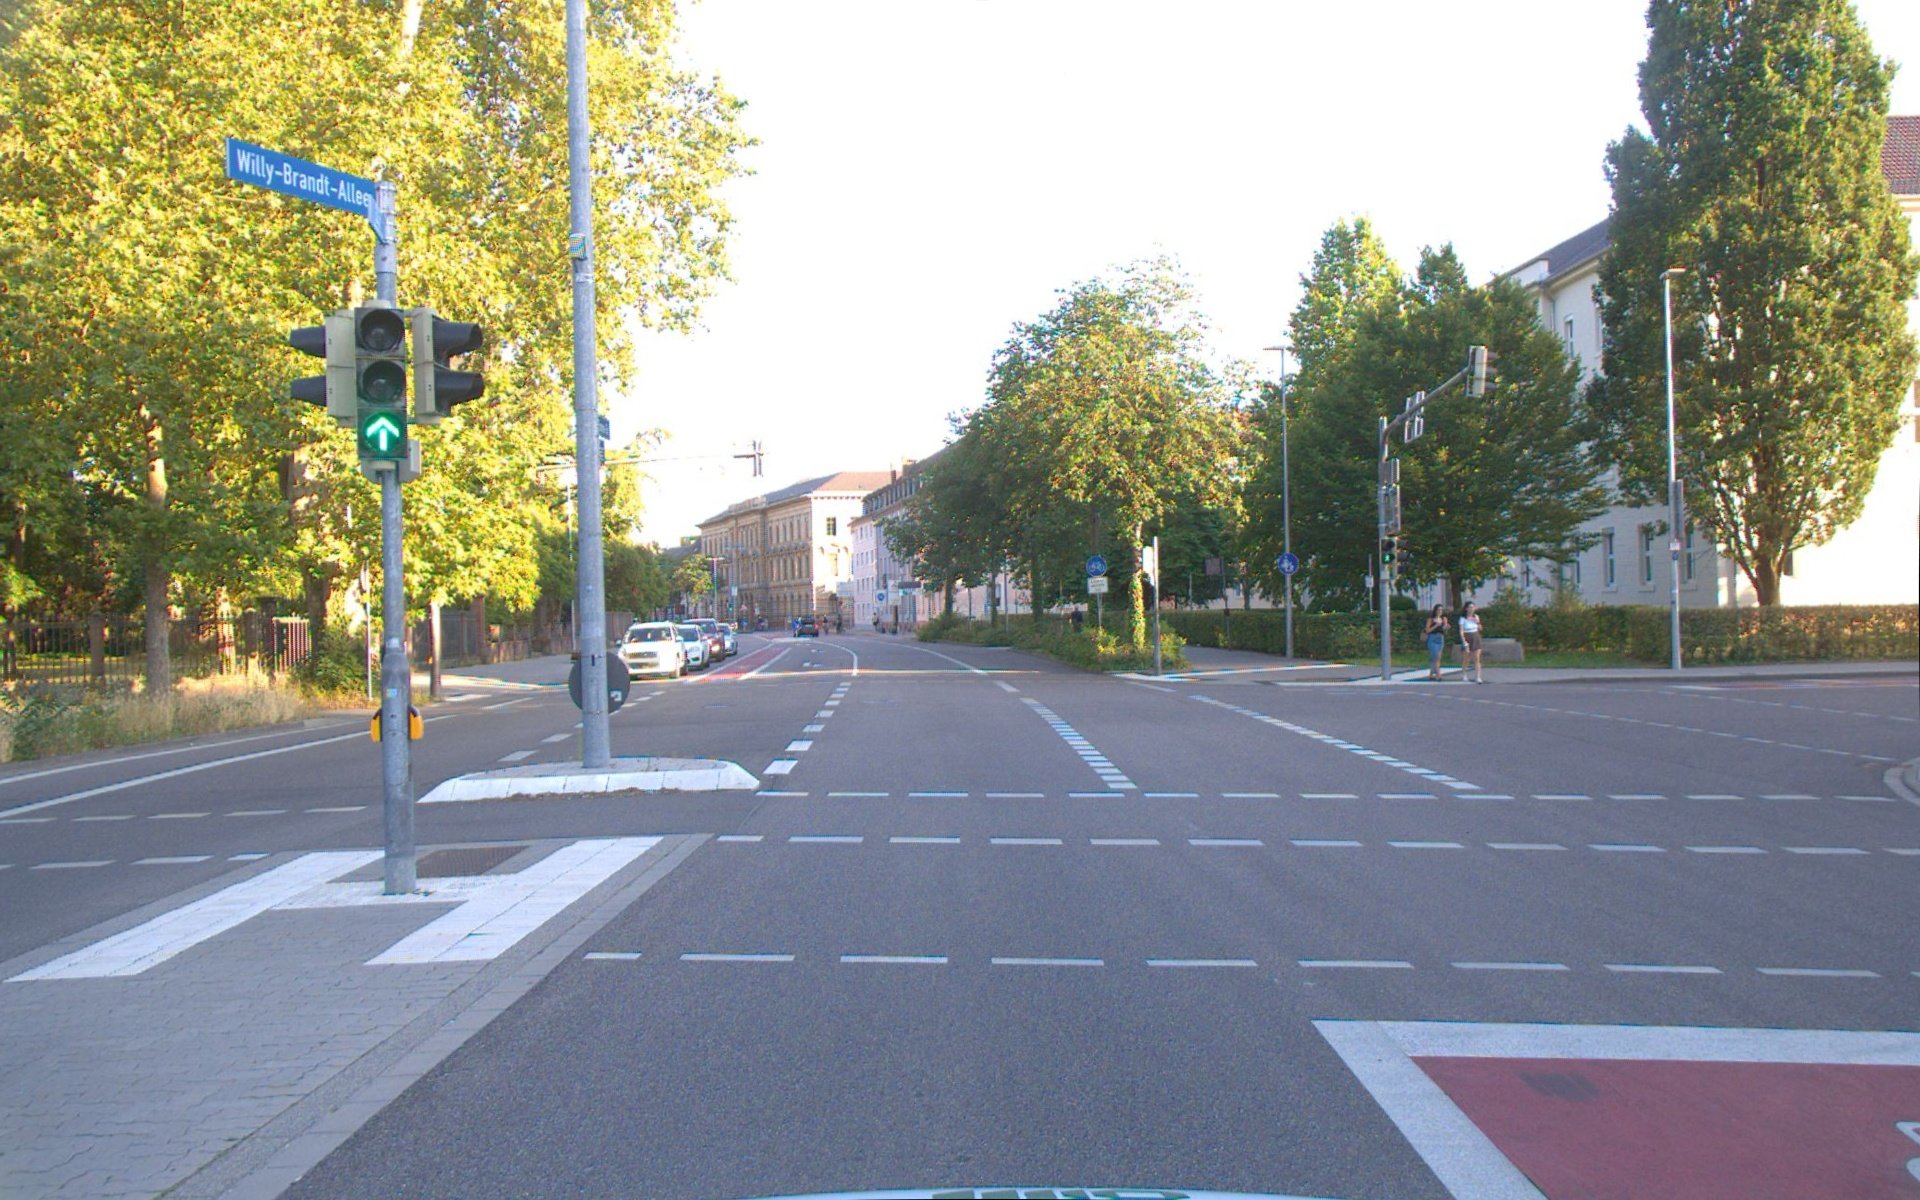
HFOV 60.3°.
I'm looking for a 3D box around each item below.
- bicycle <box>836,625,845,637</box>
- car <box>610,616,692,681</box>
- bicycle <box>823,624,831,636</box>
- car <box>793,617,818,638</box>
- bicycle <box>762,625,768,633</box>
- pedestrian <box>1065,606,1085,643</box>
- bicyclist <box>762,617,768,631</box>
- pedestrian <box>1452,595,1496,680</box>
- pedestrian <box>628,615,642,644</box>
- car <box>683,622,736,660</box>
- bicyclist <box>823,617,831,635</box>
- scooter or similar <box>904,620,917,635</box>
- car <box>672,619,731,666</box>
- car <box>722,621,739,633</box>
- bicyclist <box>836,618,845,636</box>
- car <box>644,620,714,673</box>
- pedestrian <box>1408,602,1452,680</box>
[{"bbox_3d":[-10.230,2.650,141.568,0.639,1.033,2.197,1,-1,-1],"label":"bicycle"},{"bbox_3d":[-9.185,1.407,49.463,1.879,1.725,4.422,-3,0,-5],"label":"car"},{"bbox_3d":[-11.382,2.539,141.450,0.639,1.033,2.194,1,-1,-7],"label":"bicycle"},{"bbox_3d":[-11.993,2.133,128.229,1.832,1.536,3.993,0,-1,-8],"label":"car"},{"bbox_3d":[-23.980,3.570,203.401,0.640,1.033,2.192,1,-1,-10],"label":"bicycle"},{"bbox_3d":[5.605,1.211,80.509,0.756,1.769,0.805,-1,-1,-10],"label":"pedestrian"},{"bbox_3d":[-23.940,2.911,203.233,0.640,1.727,0.955,1,-1,-10],"label":"bicyclist"},{"bbox_3d":[11.019,0.792,35.471,0.667,1.784,0.688,-1,0,-1],"label":"pedestrian"},{"bbox_3d":[-18.488,1.684,94.069,0.667,1.651,0.688,-1,-1,-1],"label":"pedestrian"},{"bbox_3d":[-10.687,1.714,70.867,1.879,1.442,4.765,-3,0,-5],"label":"car"},{"bbox_3d":[-11.369,2.220,141.425,0.639,1.471,0.878,1,-1,-7],"label":"bicyclist"},{"bbox_3d":[-4.337,2.404,144.535,0.619,1.360,2.391,-1,-1,-14],"label":"scooter or similar"},{"bbox_3d":[-10.074,1.614,64.669,1.879,1.653,4.634,-3,0,-5],"label":"car"},{"bbox_3d":[-29.103,3.453,209.520,1.882,1.442,4.757,-3,0,-11],"label":"car"},{"bbox_3d":[-10.224,2.329,141.547,0.639,1.501,0.940,1,-1,-1],"label":"bicyclist"},{"bbox_3d":[-9.509,1.541,56.291,1.879,1.611,4.669,-3,0,-5],"label":"car"},{"bbox_3d":[10.205,0.877,35.943,0.667,1.650,0.845,-1,0,-1],"label":"pedestrian"}]
